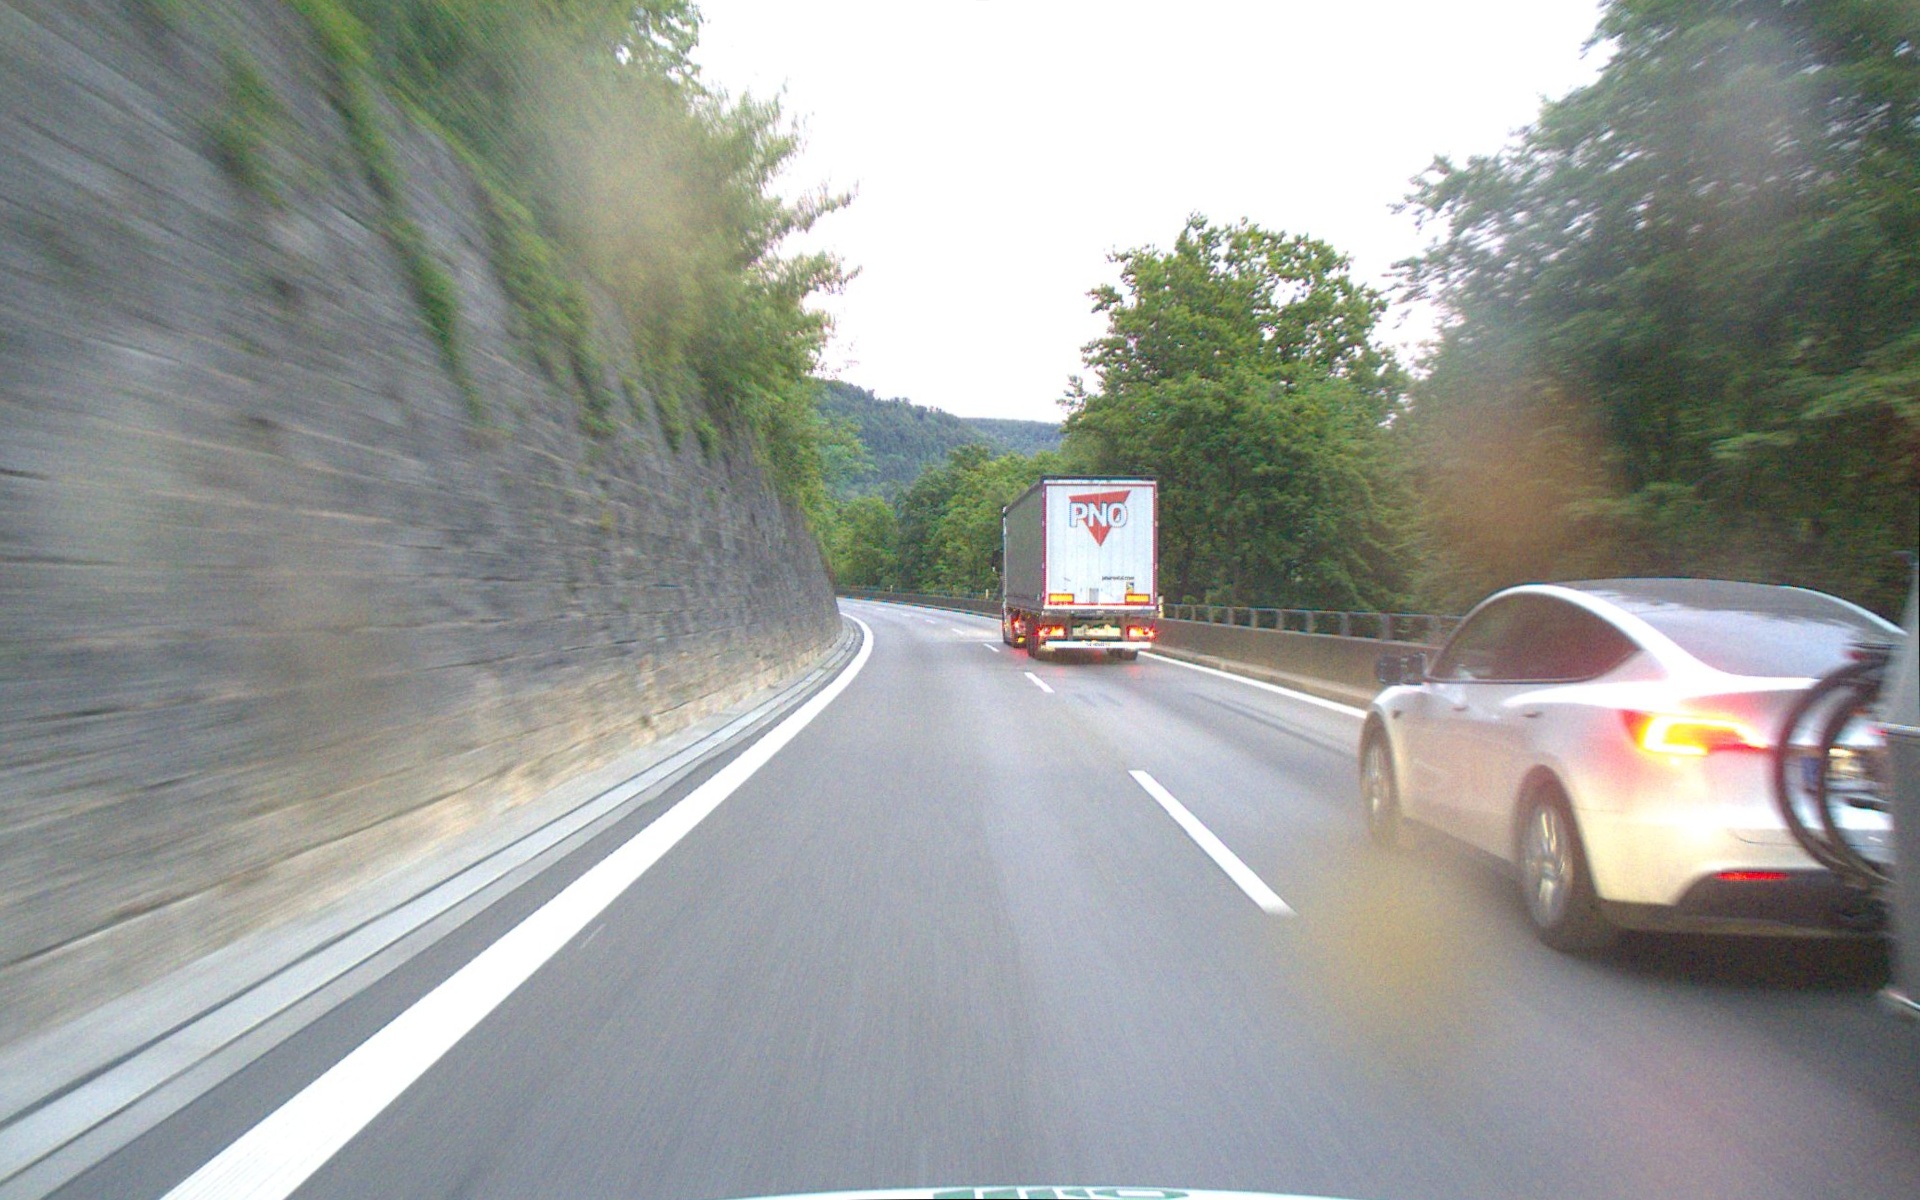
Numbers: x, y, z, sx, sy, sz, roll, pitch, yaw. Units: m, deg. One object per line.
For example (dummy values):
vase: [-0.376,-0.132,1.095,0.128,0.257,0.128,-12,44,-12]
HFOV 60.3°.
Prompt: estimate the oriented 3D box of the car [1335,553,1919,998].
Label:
car: [3.514,0.664,8.607,1.953,1.643,4.864,1,0,-1]

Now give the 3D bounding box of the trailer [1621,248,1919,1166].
trailer: [3.541,0.302,3.293,2.013,2.416,5.937,2,0,0]

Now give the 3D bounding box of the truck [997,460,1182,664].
truck: [2.926,-0.790,43.248,3.228,4.246,16.499,1,0,-1]
